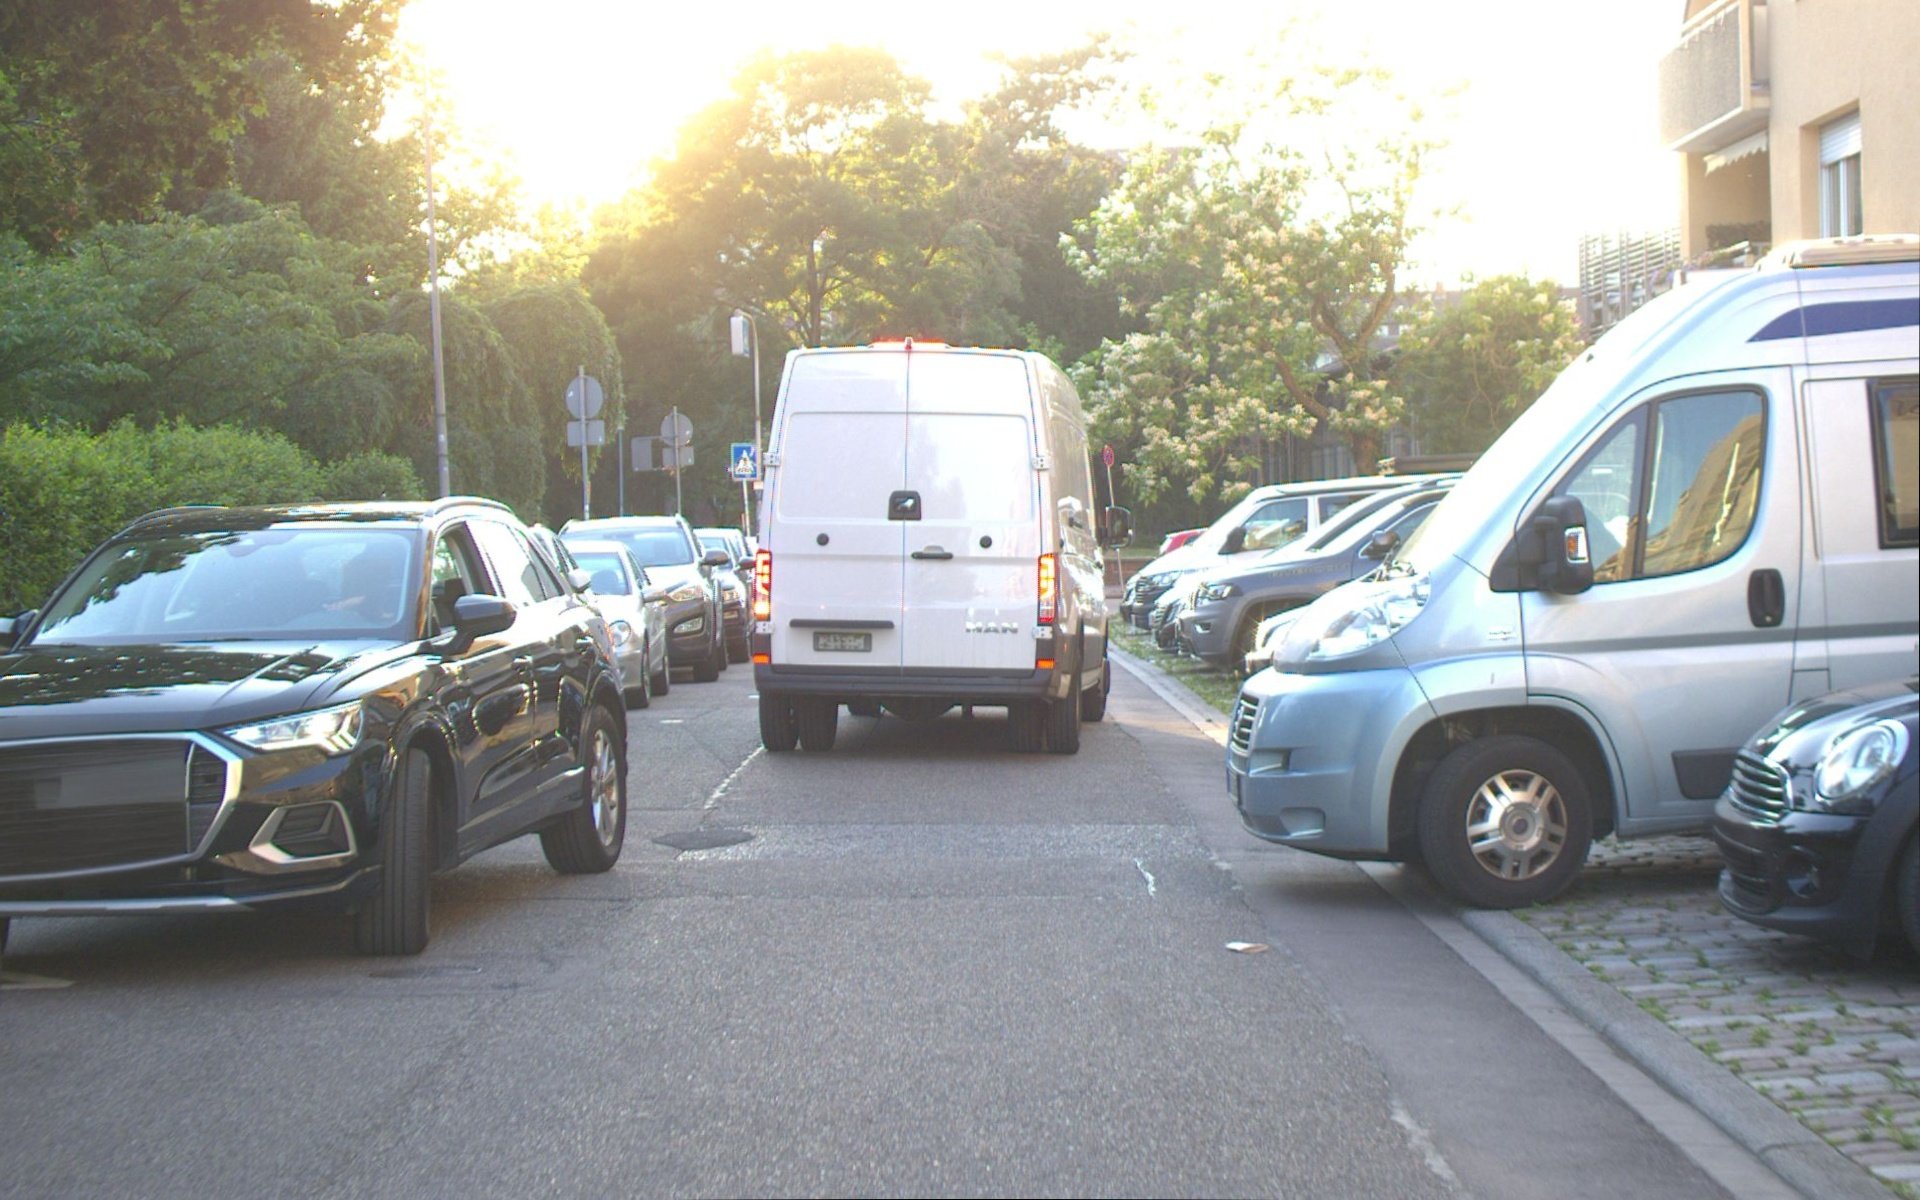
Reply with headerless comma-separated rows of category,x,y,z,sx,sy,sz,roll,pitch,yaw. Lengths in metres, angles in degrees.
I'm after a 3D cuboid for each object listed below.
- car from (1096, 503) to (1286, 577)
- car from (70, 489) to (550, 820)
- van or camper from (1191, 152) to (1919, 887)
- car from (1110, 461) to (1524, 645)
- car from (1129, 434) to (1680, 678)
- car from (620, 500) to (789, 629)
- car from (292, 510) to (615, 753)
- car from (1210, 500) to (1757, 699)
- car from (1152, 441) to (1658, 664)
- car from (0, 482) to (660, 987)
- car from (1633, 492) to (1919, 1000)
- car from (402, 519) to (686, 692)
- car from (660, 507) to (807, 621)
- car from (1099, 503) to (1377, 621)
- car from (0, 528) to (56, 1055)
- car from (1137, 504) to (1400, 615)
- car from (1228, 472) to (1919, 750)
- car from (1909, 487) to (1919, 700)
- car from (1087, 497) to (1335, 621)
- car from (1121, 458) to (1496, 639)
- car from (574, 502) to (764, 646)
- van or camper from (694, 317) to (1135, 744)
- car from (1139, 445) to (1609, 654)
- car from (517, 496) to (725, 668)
car,5.107,-1.342,76.405,3.986,1.612,2.000,0,1,-3
car,-3.607,0.237,19.810,1.783,1.625,4.000,-3,1,2
van or camper,3.989,-0.320,13.999,5.928,2.760,2.110,0,1,0
car,4.198,-0.574,41.052,4.706,2.138,2.000,0,1,-1
car,3.956,-0.414,31.212,4.706,2.138,2.000,0,1,-1
car,-3.285,-0.498,44.878,1.993,1.612,4.001,0,1,-1
car,-3.589,0.161,25.041,1.856,1.549,4.100,-2,1,-3
car,4.293,-0.026,28.628,4.236,1.420,1.719,-2,1,0
car,4.322,-0.484,33.944,4.706,2.138,2.000,0,1,-1
car,-2.541,0.378,13.066,1.805,1.564,4.564,-1,1,8
car,4.327,0.341,11.046,3.935,1.481,1.787,-3,0,2
car,-3.537,0.000,29.908,1.993,1.393,4.000,0,1,0
car,-3.293,-0.555,50.592,1.993,1.612,4.001,0,1,-1
car,4.091,-0.581,51.111,3.987,1.722,2.000,0,1,1
car,-3.565,0.608,8.179,1.637,1.473,3.992,-2,1,1
car,4.818,-0.647,54.140,3.987,1.722,2.000,0,1,1
car,3.856,0.039,21.907,3.986,1.449,1.836,-4,2,-3
car,4.625,0.355,8.293,3.986,1.510,2.020,-4,2,-4
car,4.091,-0.684,56.511,3.987,2.007,2.000,0,1,2
car,4.326,-0.655,43.209,4.496,2.223,2.032,0,1,0
car,-3.378,-0.341,40.562,1.993,1.612,4.001,0,1,-1
van or camper,-0.128,-0.497,23.810,2.454,2.538,6.082,1,1,5
car,4.314,-0.547,36.371,4.706,2.138,2.000,0,1,-1
car,-3.423,-0.225,35.355,1.993,1.656,4.001,0,1,-4
